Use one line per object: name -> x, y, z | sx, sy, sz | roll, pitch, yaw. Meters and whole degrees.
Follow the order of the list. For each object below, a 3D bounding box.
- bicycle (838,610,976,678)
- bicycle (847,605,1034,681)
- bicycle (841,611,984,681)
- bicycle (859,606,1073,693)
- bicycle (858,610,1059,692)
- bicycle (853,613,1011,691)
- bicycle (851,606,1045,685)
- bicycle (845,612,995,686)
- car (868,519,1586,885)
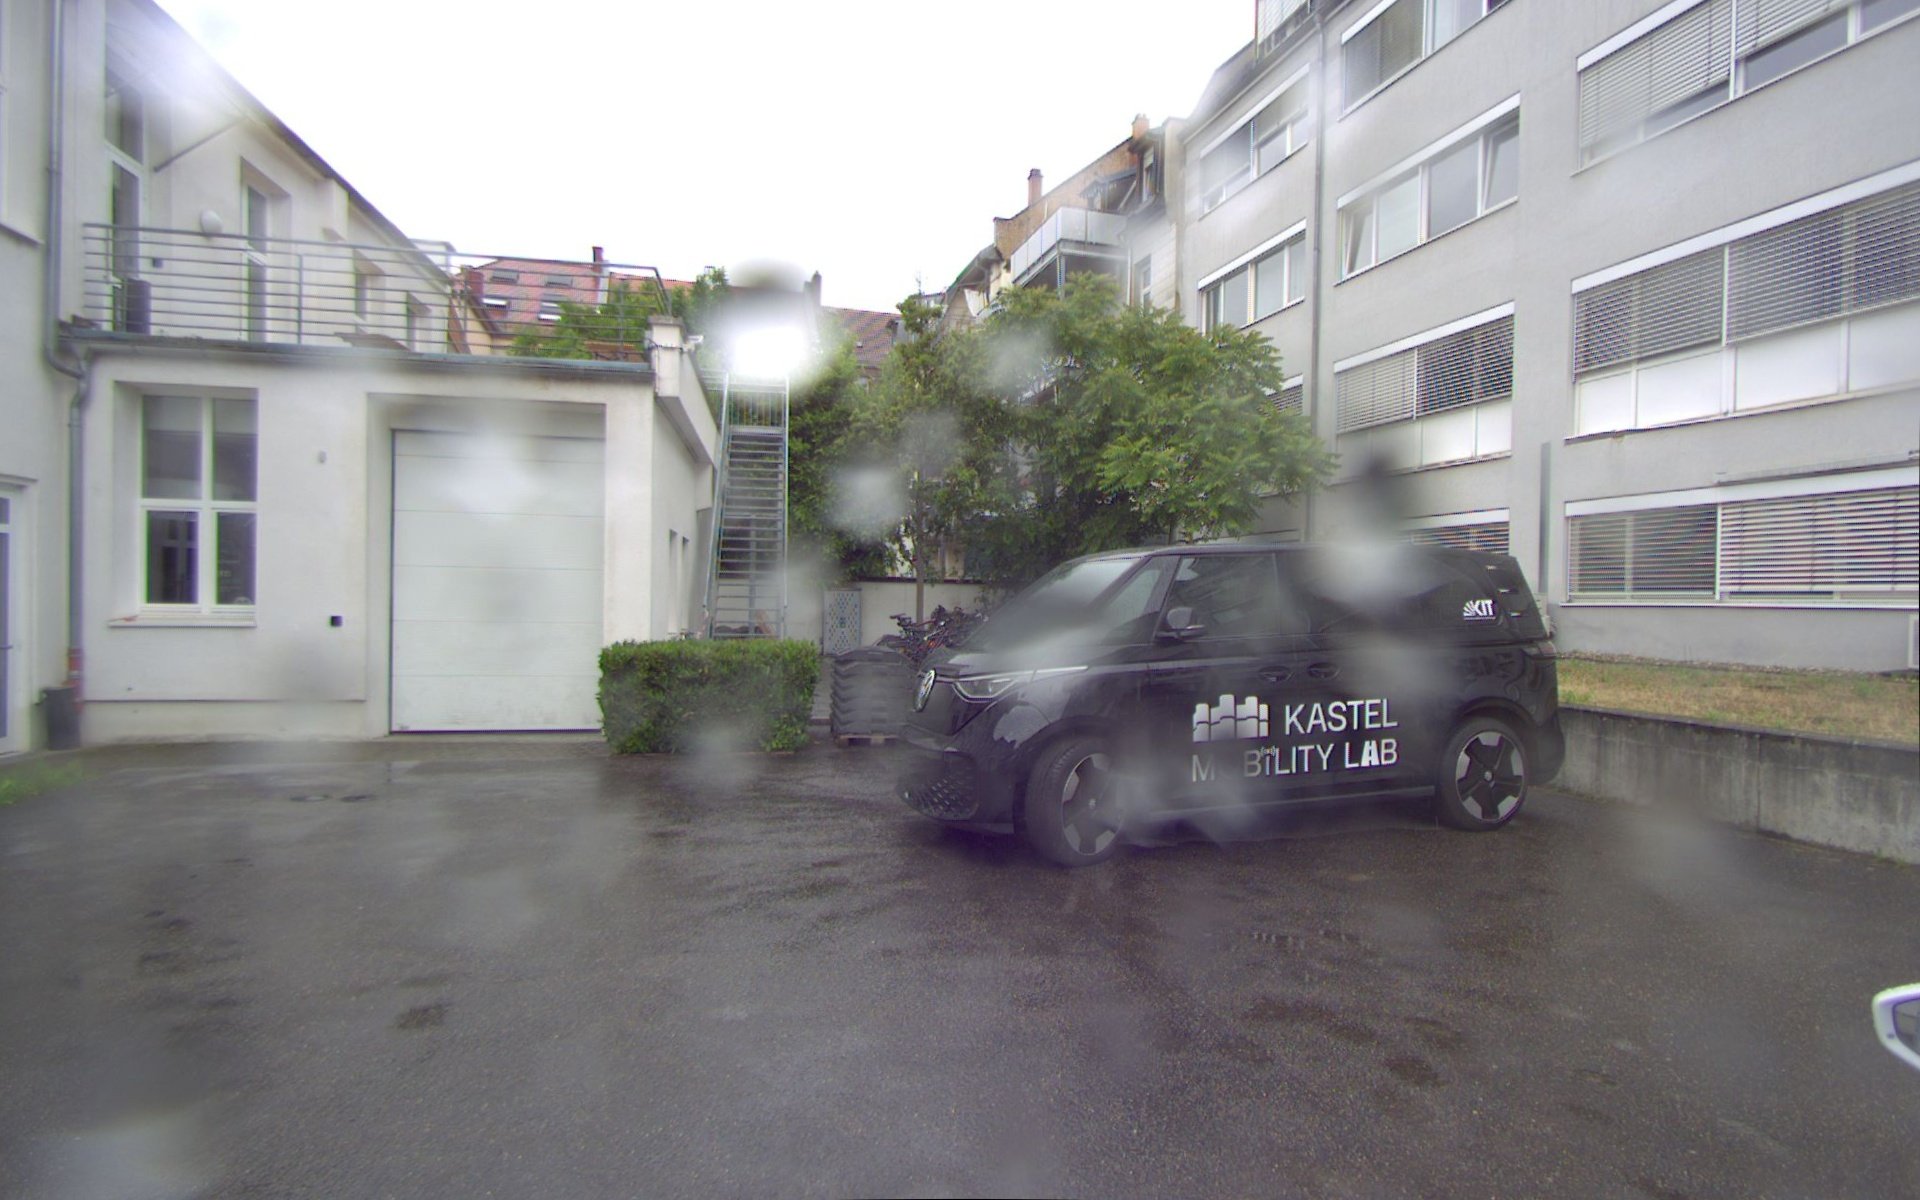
bicycle -> -0.918, 0.743, 17.224 | 2.295, 1.119, 0.631 | 1, 1, -12
bicycle -> -0.331, 0.740, 17.389 | 3.169, 1.258, 0.629 | 1, -1, -14
bicycle -> -0.791, 0.752, 16.585 | 2.295, 1.119, 0.631 | 1, 1, -12
bicycle -> 0.104, 0.735, 15.131 | 3.169, 1.258, 0.629 | 1, -1, -14
bicycle -> -0.021, 0.805, 16.100 | 3.169, 1.258, 0.629 | 1, -1, -14
bicycle -> -0.432, 0.776, 15.157 | 2.295, 1.119, 0.631 | 1, 1, -12
bicycle -> -0.190, 0.750, 16.745 | 3.169, 1.258, 0.629 | 1, -1, -14
bicycle -> -0.643, 0.763, 15.933 | 2.295, 1.119, 0.631 | 1, 1, -12
car -> 1.761, 0.566, 6.961 | 4.452, 1.922, 2.038 | 1, -1, -19
